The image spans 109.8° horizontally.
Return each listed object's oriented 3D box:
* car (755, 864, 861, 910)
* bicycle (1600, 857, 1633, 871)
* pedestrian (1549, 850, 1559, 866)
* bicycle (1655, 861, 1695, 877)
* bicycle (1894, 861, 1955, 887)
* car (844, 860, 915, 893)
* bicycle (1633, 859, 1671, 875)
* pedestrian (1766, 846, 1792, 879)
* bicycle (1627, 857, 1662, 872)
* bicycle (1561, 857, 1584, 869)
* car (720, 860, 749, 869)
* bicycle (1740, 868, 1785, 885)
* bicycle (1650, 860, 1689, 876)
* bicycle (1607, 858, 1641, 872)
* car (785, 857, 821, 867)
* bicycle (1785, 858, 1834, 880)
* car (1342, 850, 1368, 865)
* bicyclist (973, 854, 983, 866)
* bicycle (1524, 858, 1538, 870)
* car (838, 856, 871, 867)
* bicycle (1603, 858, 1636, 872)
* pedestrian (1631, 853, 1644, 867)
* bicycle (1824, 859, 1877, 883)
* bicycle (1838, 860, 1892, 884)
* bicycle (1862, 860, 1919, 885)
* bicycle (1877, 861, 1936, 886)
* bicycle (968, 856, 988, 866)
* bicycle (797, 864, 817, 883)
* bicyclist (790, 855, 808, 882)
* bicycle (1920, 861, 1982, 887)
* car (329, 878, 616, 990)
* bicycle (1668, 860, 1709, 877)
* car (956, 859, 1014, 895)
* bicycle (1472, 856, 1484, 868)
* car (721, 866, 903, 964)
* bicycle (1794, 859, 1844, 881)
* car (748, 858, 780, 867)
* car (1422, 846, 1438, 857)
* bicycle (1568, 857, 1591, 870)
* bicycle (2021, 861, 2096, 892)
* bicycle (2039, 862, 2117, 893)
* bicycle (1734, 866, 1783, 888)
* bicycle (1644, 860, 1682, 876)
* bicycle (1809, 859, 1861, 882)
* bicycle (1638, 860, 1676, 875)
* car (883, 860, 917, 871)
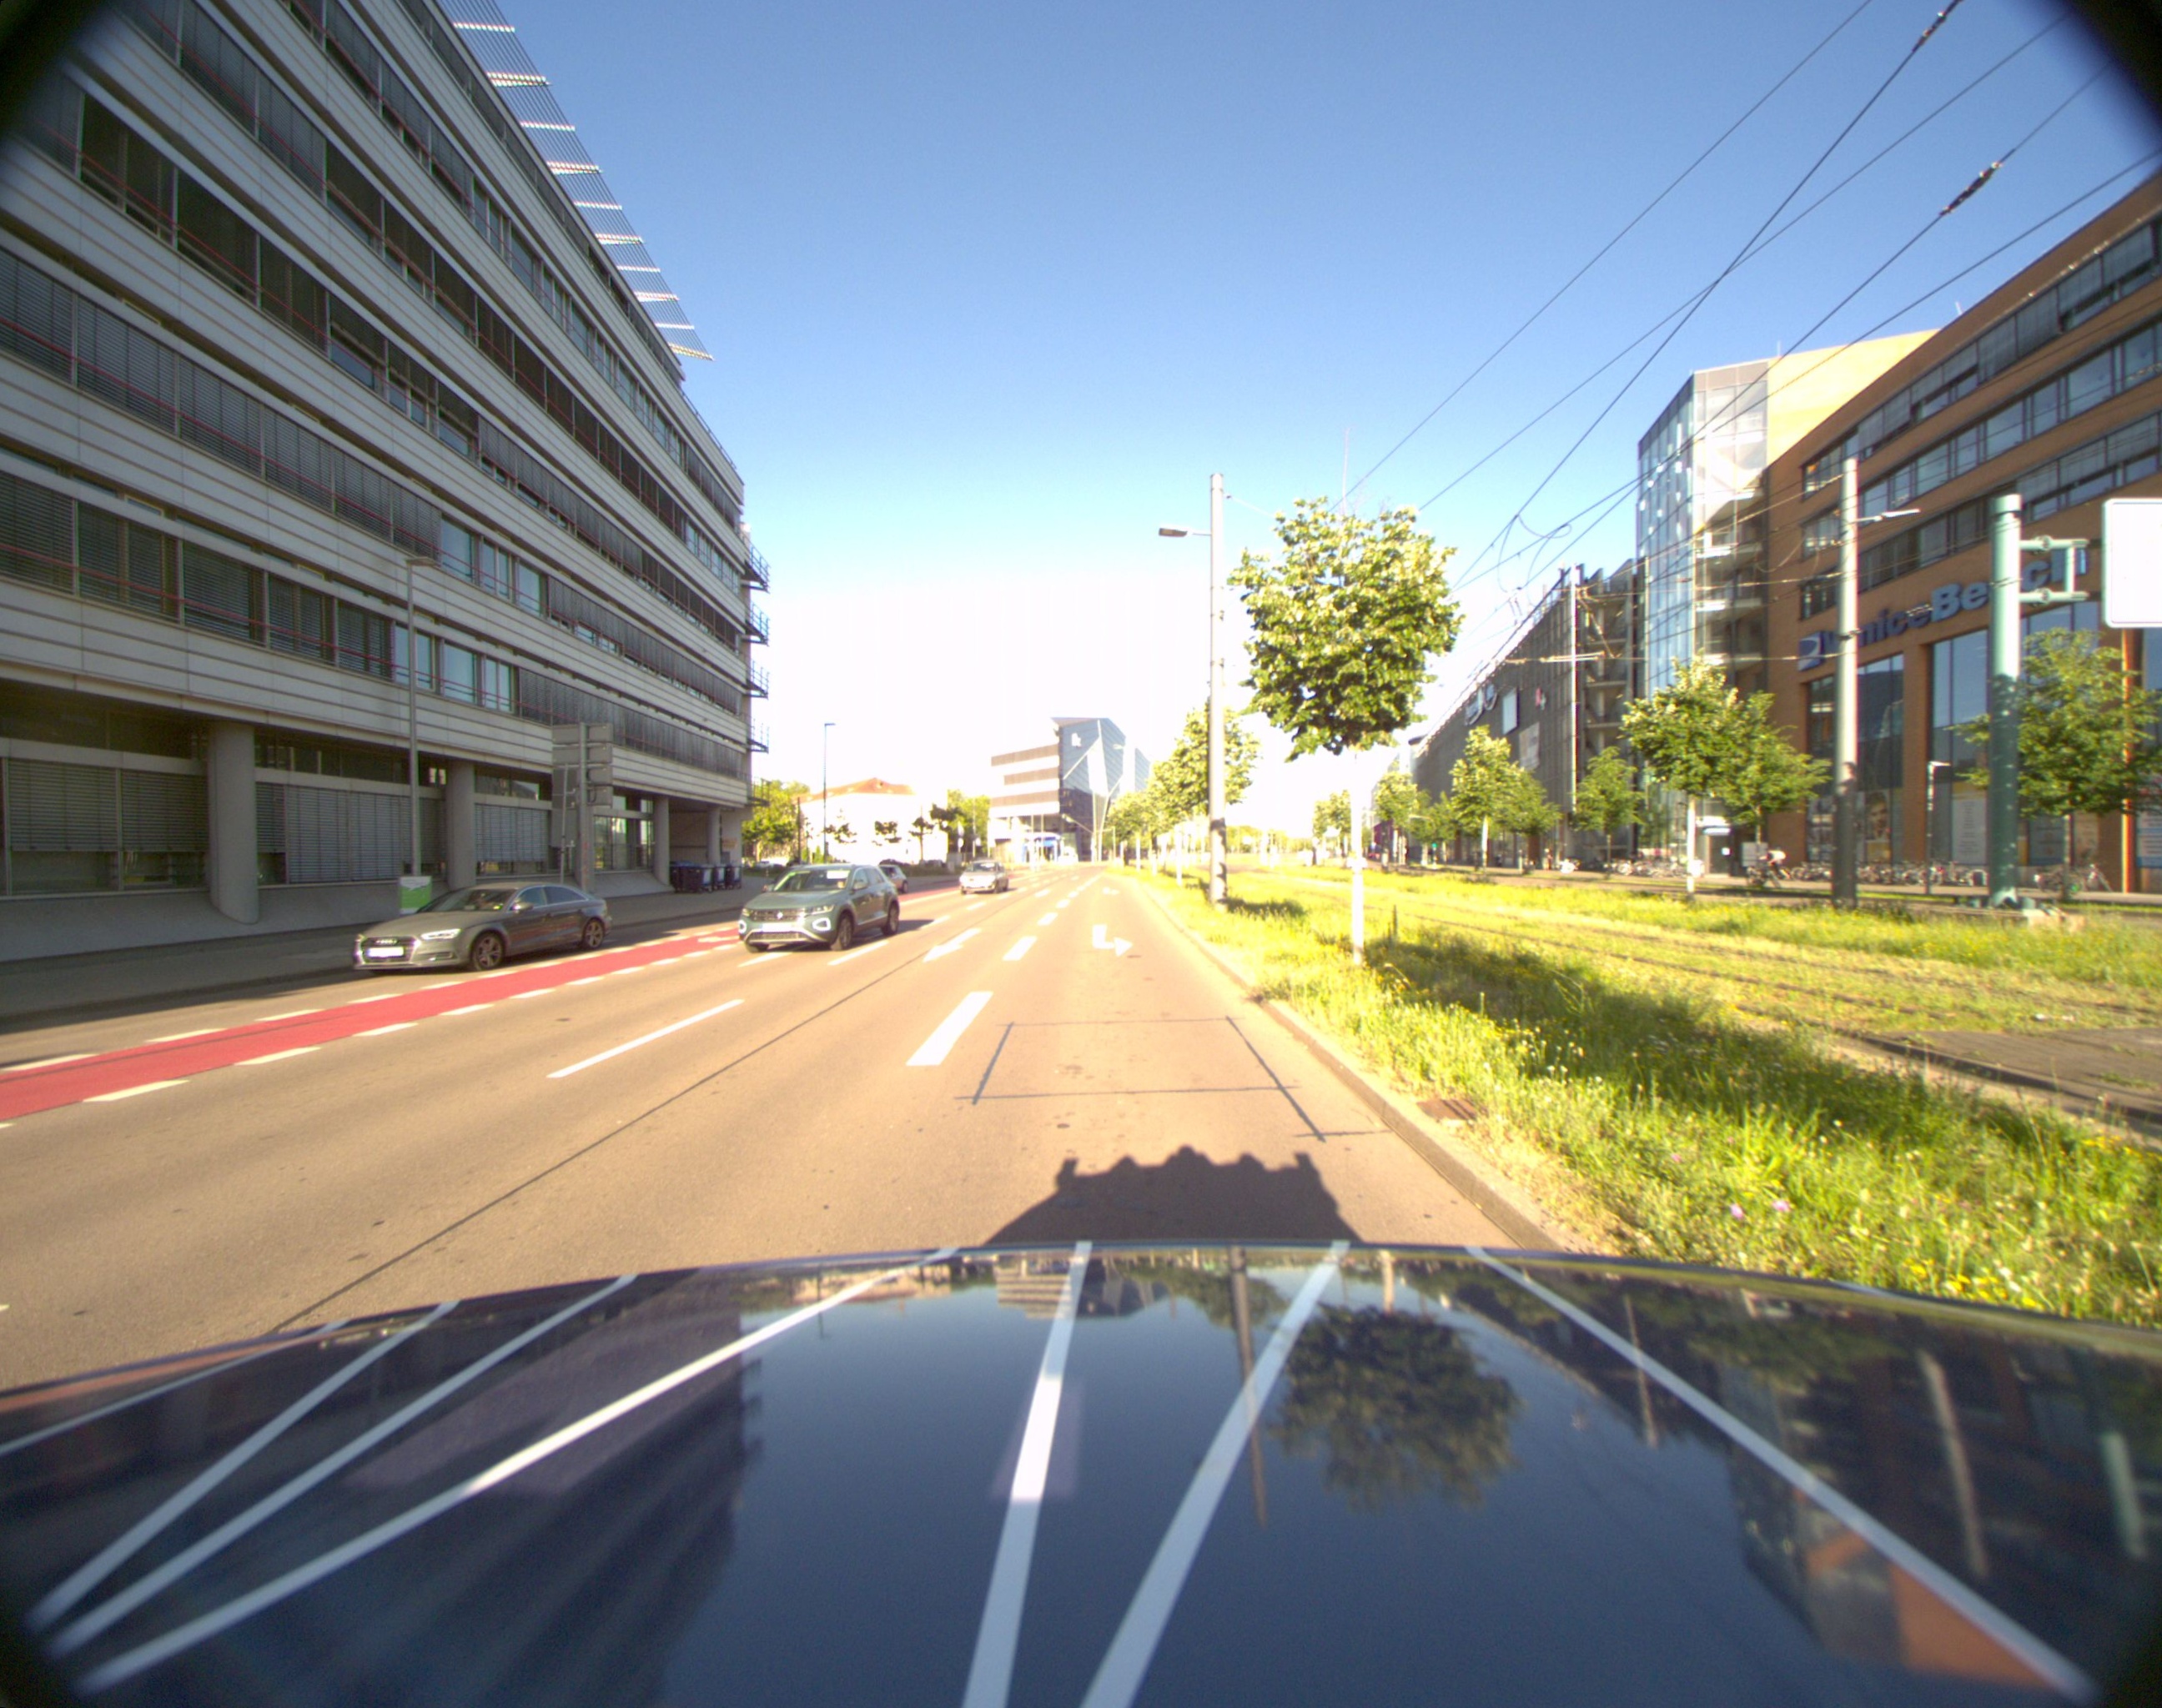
[{"bbox_3d":[-9.657,1.128,27.209,1.734,1.437,4.003,-2,0,11],"label":"car"},{"bbox_3d":[36.907,0.702,52.392,1.768,0.921,0.491,-1,1,17],"label":"bicycle"},{"bbox_3d":[38.394,0.351,61.681,0.448,1.282,0.630,0,1,13],"label":"pedestrian"},{"bbox_3d":[34.723,0.857,44.431,1.768,0.921,0.565,-1,1,17],"label":"bicycle"},{"bbox_3d":[34.969,0.823,31.510,1.769,1.043,0.491,-1,1,8],"label":"bicycle"},{"bbox_3d":[-9.123,1.037,34.734,1.437,1.437,4.005,0,-2,13],"label":"car"},{"bbox_3d":[35.502,0.805,47.264,1.768,0.921,0.565,-1,1,17],"label":"bicycle"},{"bbox_3d":[36.093,0.423,39.309,0.746,1.659,0.676,-1,1,7],"label":"pedestrian"},{"bbox_3d":[36.007,0.676,48.559,1.768,0.921,0.491,-1,1,17],"label":"bicycle"},{"bbox_3d":[38.047,0.675,58.846,1.398,0.921,0.462,-1,1,17],"label":"bicycle"},{"bbox_3d":[-52.489,1.587,115.121,3.990,1.368,1.938,-1,1,27],"label":"car"},{"bbox_3d":[37.422,1.235,41.731,1.768,0.921,0.565,-1,1,17],"label":"bicycle"},{"bbox_3d":[34.978,0.842,45.158,1.768,0.921,0.565,-1,1,17],"label":"bicycle"},{"bbox_3d":[36.516,0.736,51.137,1.768,0.921,0.565,-1,1,17],"label":"bicycle"},{"bbox_3d":[-39.979,1.158,109.270,4.516,1.414,2.002,-1,1,17],"label":"car"},{"bbox_3d":[35.629,0.751,37.178,1.769,1.043,0.491,-1,1,8],"label":"bicycle"},{"bbox_3d":[25.846,0.276,71.724,1.808,1.320,4.409,0,1,13],"label":"car"},{"bbox_3d":[-13.306,0.747,98.110,1.006,1.598,0.880,-1,1,14],"label":"bicyclist"},{"bbox_3d":[32.662,0.722,55.200,0.386,0.863,1.773,0,1,13],"label":"bicycle"},{"bbox_3d":[-31.908,1.018,106.870,3.991,1.414,2.003,-1,1,20],"label":"car"},{"bbox_3d":[36.729,0.723,51.809,1.768,0.921,0.491,-1,1,17],"label":"bicycle"},{"bbox_3d":[40.739,0.423,55.624,0.629,1.048,0.450,-1,1,13],"label":"pedestrian"},{"bbox_3d":[35.295,0.782,34.877,1.769,1.043,0.491,-1,1,8],"label":"bicycle"},{"bbox_3d":[35.239,0.790,34.168,1.769,1.043,0.491,-1,1,8],"label":"bicycle"},{"bbox_3d":[35.057,0.808,32.906,1.769,1.043,0.491,-1,1,8],"label":"bicycle"},{"bbox_3d":[34.998,0.816,32.232,1.769,1.043,0.491,-1,1,8],"label":"bicycle"},{"bbox_3d":[-13.291,0.905,98.094,2.368,1.304,0.952,-1,1,13],"label":"bicycle"},{"bbox_3d":[-16.373,1.154,45.382,0.505,1.052,1.702,2,1,2],"label":"bicycle"},{"bbox_3d":[-16.774,0.860,45.235,0.685,1.609,0.991,-1,1,2],"label":"bicyclist"},{"bbox_3d":[35.314,0.817,30.846,1.769,1.043,0.491,-1,1,8],"label":"bicycle"},{"bbox_3d":[-10.353,1.265,13.413,1.714,1.433,4.110,-2,1,-1],"label":"car"},{"bbox_3d":[34.659,0.819,43.374,1.768,0.921,0.565,-1,1,17],"label":"bicycle"},{"bbox_3d":[-4.234,0.978,34.069,1.619,1.421,3.769,-2,1,7],"label":"car"},{"bbox_3d":[31.585,0.666,60.480,0.386,0.918,1.773,0,1,13],"label":"bicycle"},{"bbox_3d":[-4.917,1.050,14.540,1.748,1.496,3.882,-2,0,5],"label":"car"},{"bbox_3d":[35.540,0.759,36.604,1.769,1.043,0.491,-1,1,8],"label":"bicycle"},{"bbox_3d":[-46.721,1.296,111.969,3.990,1.237,2.003,-1,1,22],"label":"car"},{"bbox_3d":[54.254,-0.374,118.117,1.582,1.521,3.754,-2,1,13],"label":"car"},{"bbox_3d":[37.662,0.702,57.377,1.398,0.921,0.462,-1,1,17],"label":"bicycle"},{"bbox_3d":[34.193,0.795,26.591,1.769,1.043,0.491,-1,1,8],"label":"bicycle"},{"bbox_3d":[34.122,0.803,26.019,1.769,1.043,0.491,-1,1,8],"label":"bicycle"},{"bbox_3d":[28.014,0.937,31.451,0.464,0.863,1.771,-1,1,1],"label":"bicycle"},{"bbox_3d":[35.168,0.829,45.914,1.768,0.921,0.565,-1,1,17],"label":"bicycle"},{"bbox_3d":[35.348,0.774,35.621,1.769,1.043,0.491,-1,1,8],"label":"bicycle"},{"bbox_3d":[35.311,0.818,46.569,1.768,0.921,0.565,-1,1,17],"label":"bicycle"},{"bbox_3d":[-24.912,1.581,104.673,3.991,1.414,2.003,-1,1,20],"label":"car"}]
